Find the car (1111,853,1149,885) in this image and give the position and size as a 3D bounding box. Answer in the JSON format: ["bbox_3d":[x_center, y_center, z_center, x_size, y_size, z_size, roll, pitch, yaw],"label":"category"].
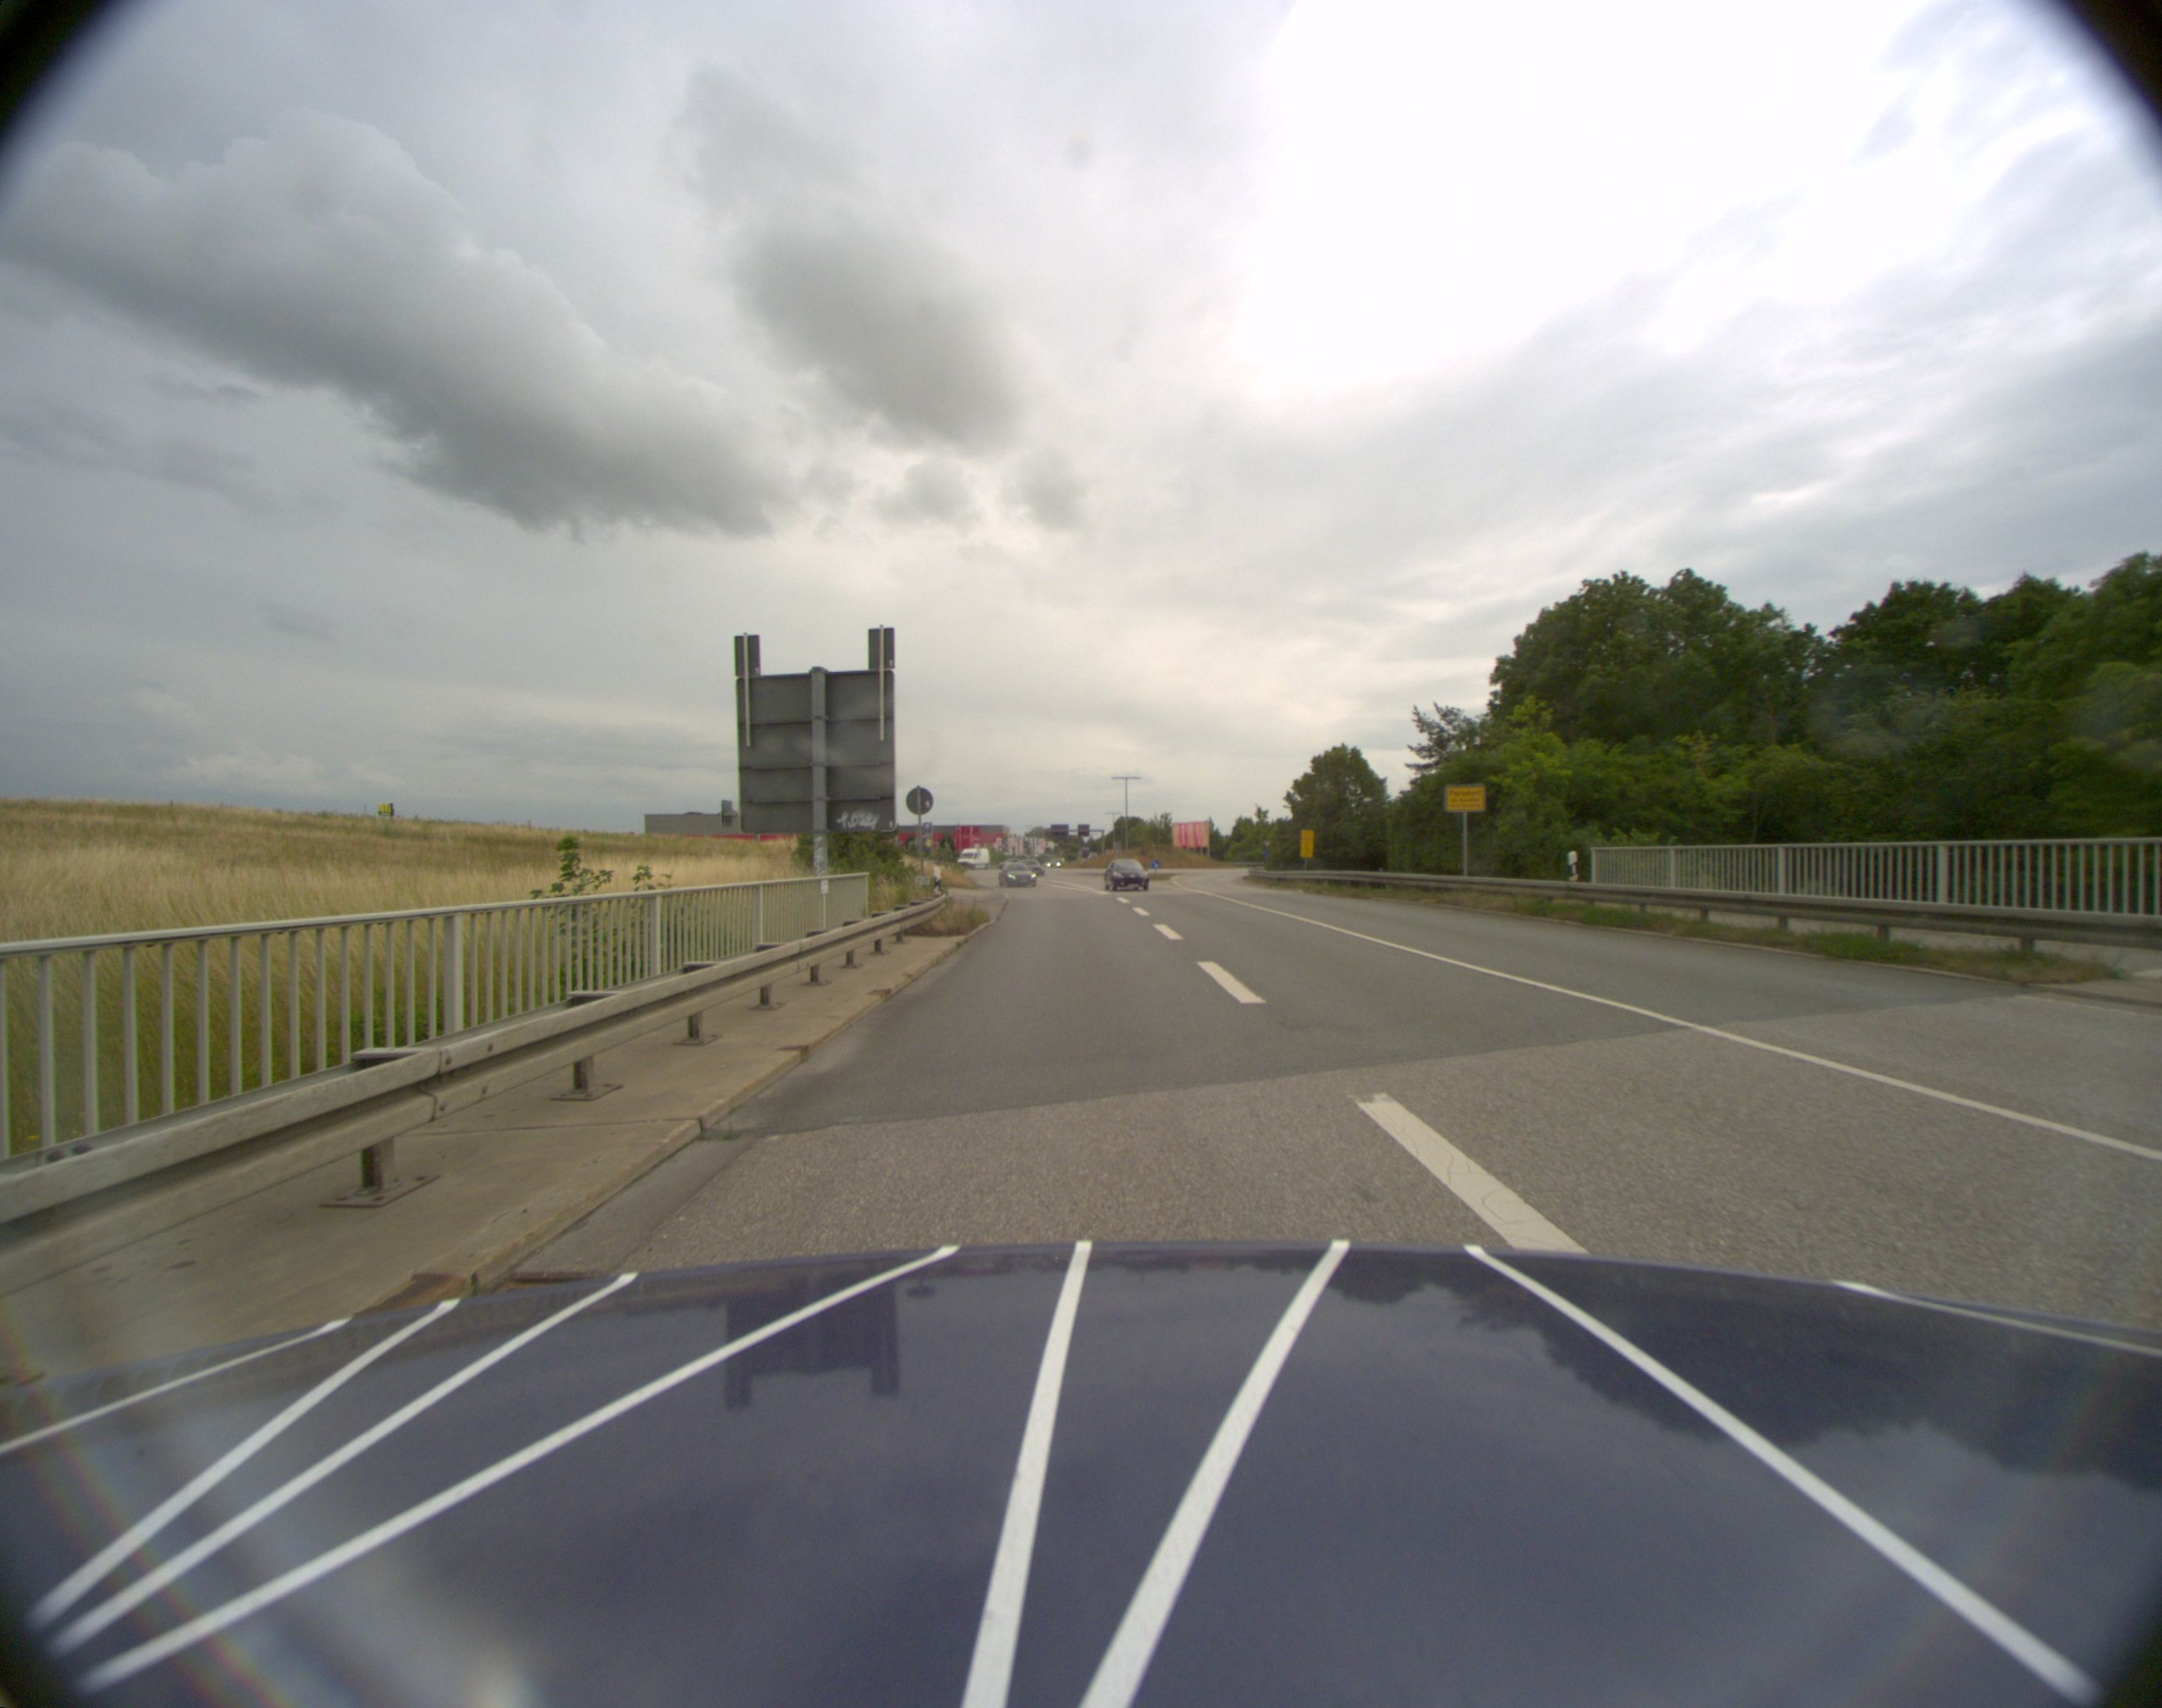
[{"bbox_3d":[2.315,0.686,36.423,1.580,1.346,3.823,-3,0,1],"label":"car"}]

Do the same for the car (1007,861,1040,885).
[{"bbox_3d":[-3.652,1.169,47.636,1.765,1.411,4.088,-2,0,-8],"label":"car"}]

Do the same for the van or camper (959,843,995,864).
[{"bbox_3d":[-12.498,-0.078,91.414,2.049,2.350,5.548,-1,1,18],"label":"van or camper"}]

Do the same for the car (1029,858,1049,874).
[{"bbox_3d":[-3.600,1.034,65.356,1.579,1.261,3.313,-2,1,-1],"label":"car"}]
